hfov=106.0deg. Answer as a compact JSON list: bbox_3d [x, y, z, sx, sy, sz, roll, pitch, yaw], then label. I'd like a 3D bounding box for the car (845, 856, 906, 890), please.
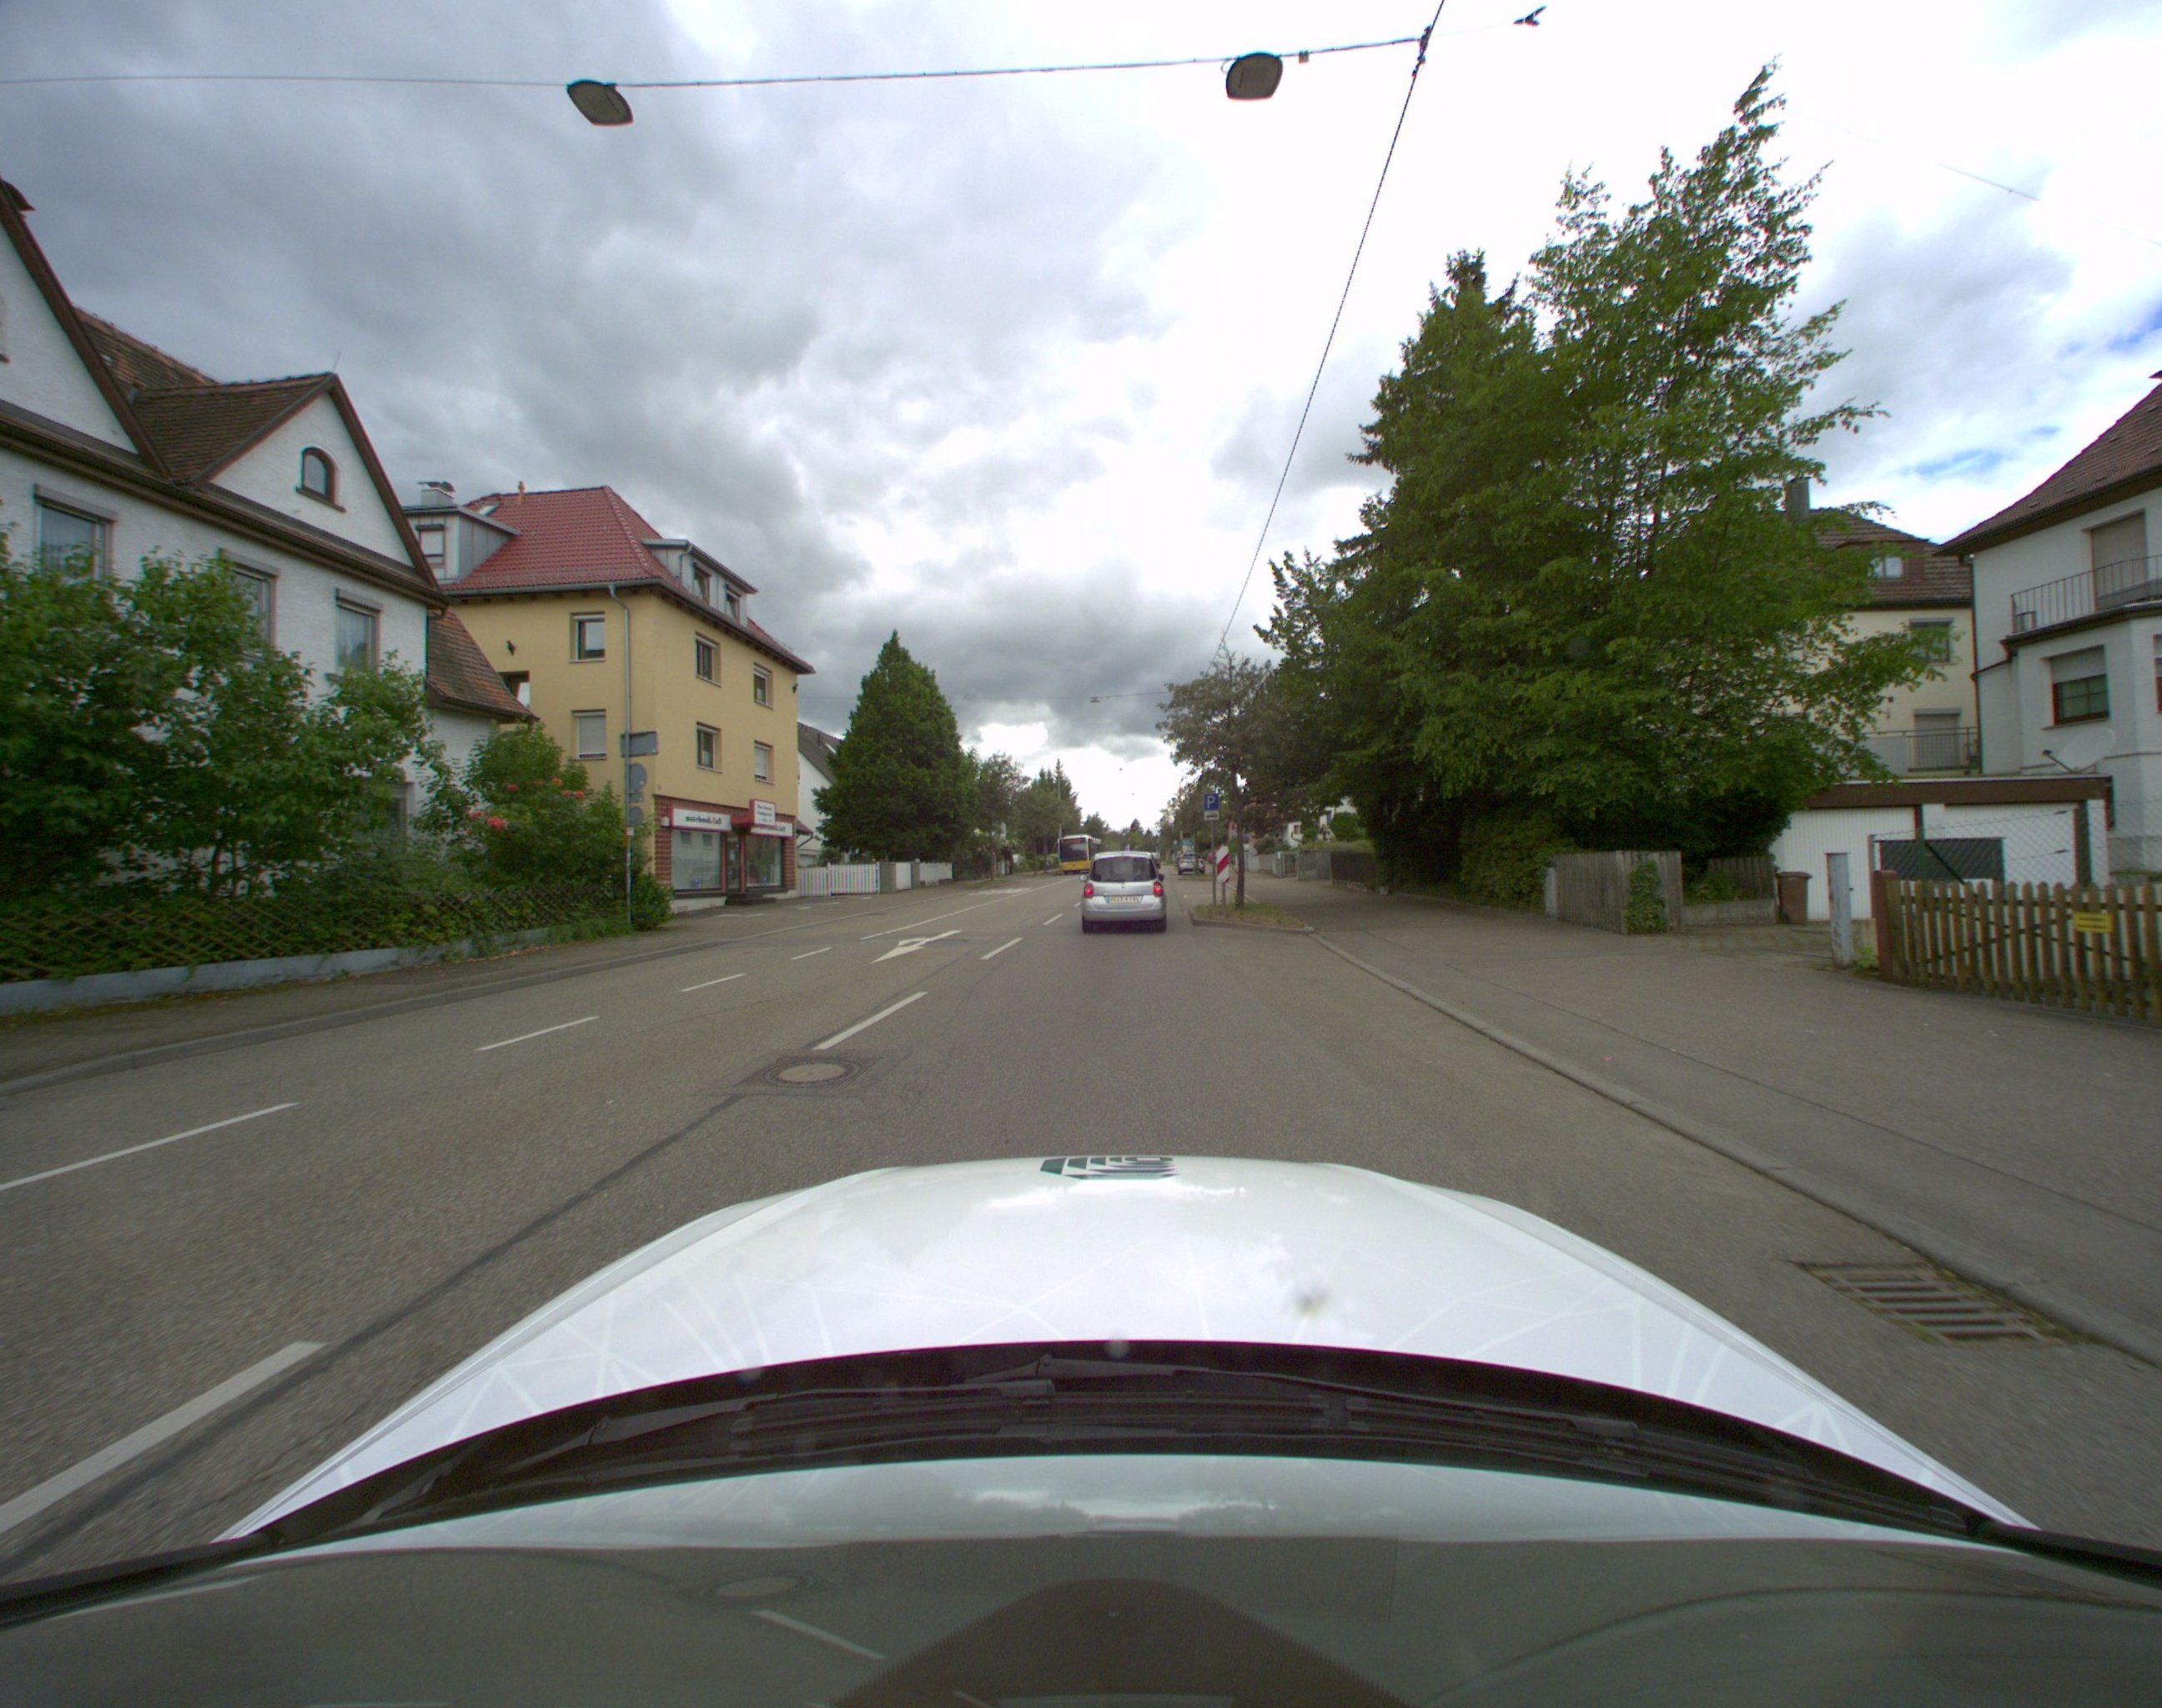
[{"bbox_3d":[-10.793,0.951,43.096,1.799,1.564,4.620,-4,0,2],"label":"car"}]

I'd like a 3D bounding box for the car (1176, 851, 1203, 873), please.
[{"bbox_3d":[7.191,0.572,54.061,1.642,1.382,4.006,-1,-1,6],"label":"car"}]

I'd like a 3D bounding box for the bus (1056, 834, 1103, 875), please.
[{"bbox_3d":[0.034,0.056,69.652,2.619,3.086,12.090,-3,0,6],"label":"bus"}]

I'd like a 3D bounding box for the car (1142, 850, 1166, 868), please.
[{"bbox_3d":[7.176,0.481,79.775,1.817,1.675,3.586,-2,-1,12],"label":"car"}]

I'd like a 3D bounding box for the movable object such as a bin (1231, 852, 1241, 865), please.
[{"bbox_3d":[13.440,0.421,70.559,0.772,1.104,0.692,-2,0,4],"label":"movable object such as a bin"}]

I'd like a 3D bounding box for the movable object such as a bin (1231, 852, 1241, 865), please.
[{"bbox_3d":[13.549,0.397,71.311,0.772,1.104,0.692,-2,0,4],"label":"movable object such as a bin"}]

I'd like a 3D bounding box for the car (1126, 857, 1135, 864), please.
[{"bbox_3d":[12.655,1.704,208.567,1.899,1.618,4.000,-1,-1,1],"label":"car"}]

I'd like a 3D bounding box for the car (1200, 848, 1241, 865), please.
[{"bbox_3d":[14.735,0.254,86.114,3.978,1.496,1.808,-5,-1,-3],"label":"car"}]

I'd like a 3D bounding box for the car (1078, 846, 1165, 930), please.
[{"bbox_3d":[0.925,0.679,17.292,1.622,1.557,4.005,0,-1,5],"label":"car"}]

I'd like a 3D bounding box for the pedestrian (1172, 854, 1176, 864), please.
[{"bbox_3d":[16.211,0.880,141.714,0.702,1.647,0.774,-2,-1,5],"label":"pedestrian"}]
